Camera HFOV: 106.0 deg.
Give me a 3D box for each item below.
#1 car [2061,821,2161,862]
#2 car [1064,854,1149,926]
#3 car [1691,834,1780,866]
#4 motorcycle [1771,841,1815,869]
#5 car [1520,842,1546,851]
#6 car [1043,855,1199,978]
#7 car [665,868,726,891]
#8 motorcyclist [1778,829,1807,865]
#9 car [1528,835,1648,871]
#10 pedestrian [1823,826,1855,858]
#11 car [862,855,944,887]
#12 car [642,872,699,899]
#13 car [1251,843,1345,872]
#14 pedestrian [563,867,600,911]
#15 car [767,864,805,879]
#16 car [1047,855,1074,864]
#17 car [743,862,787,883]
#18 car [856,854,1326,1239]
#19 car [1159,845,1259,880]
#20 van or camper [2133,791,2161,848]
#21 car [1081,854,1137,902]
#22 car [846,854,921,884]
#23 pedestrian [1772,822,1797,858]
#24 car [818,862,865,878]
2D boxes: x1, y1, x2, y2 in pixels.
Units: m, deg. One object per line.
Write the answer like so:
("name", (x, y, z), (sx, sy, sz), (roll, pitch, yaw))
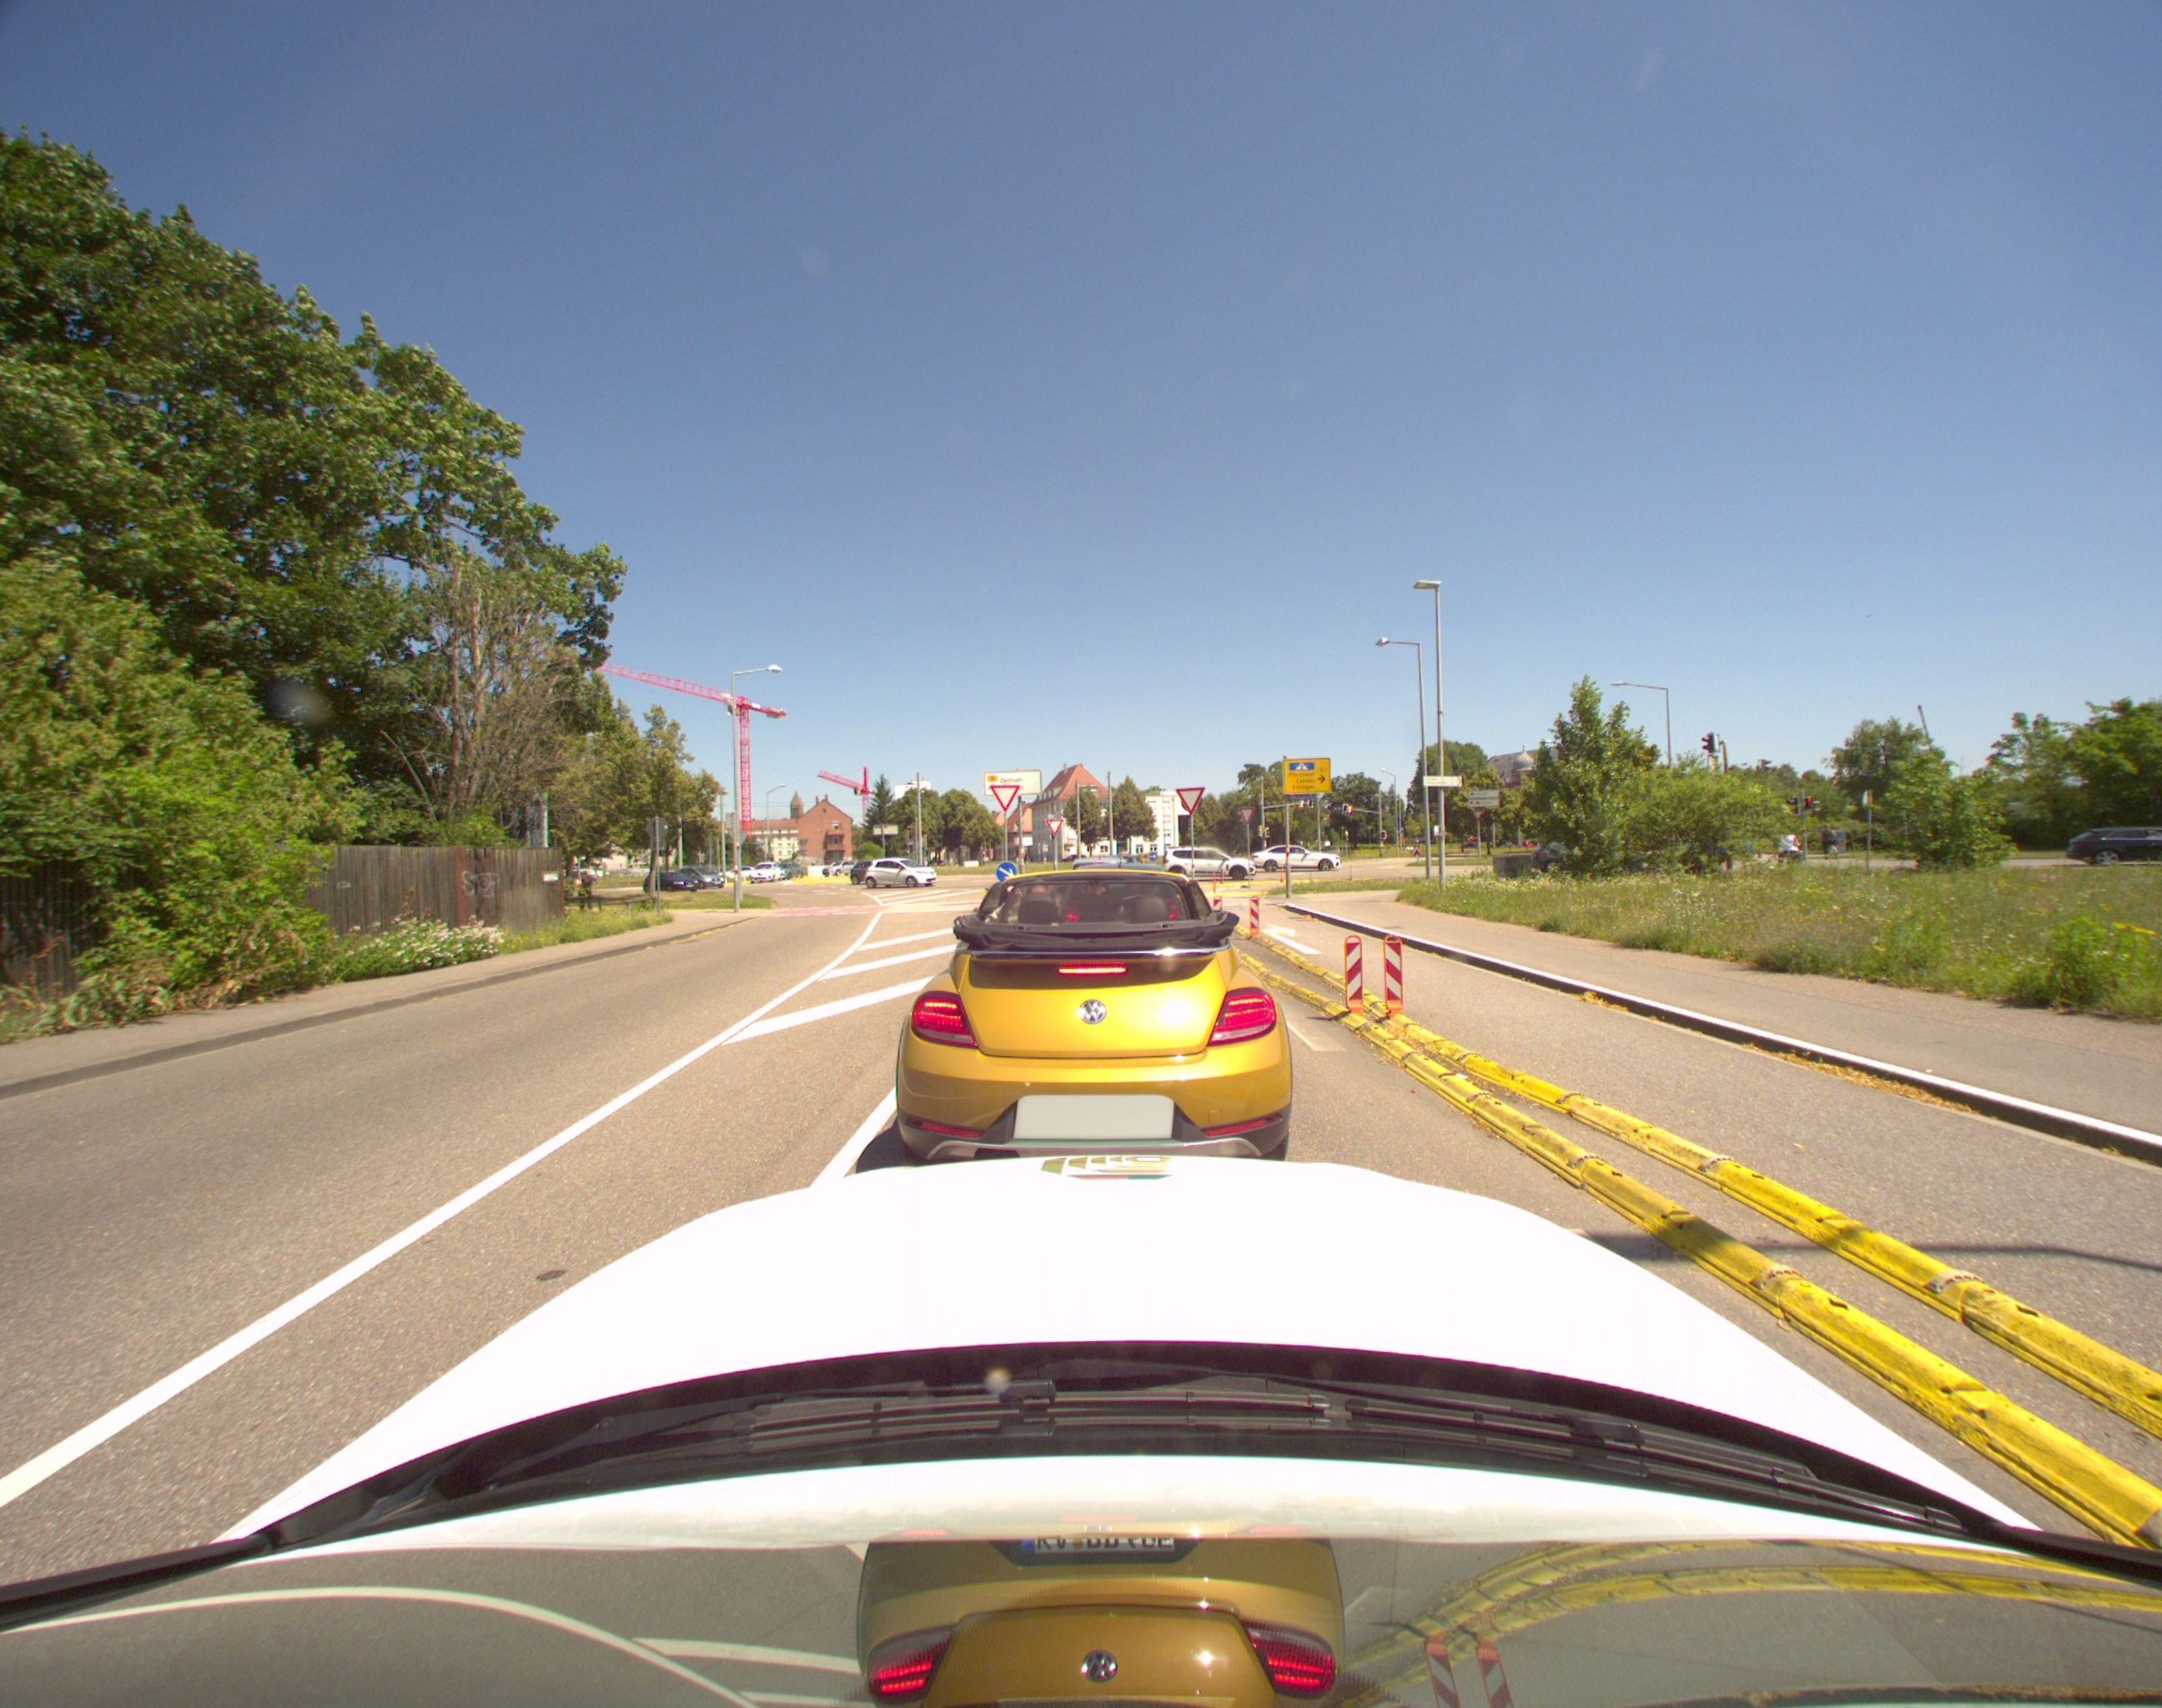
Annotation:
("car", (38.791, -0.455, 29.467), (3.949, 1.407, 2.012), (-1, 0, 41))
("car", (0.589, 0.751, 18.809), (1.730, 1.442, 4.002), (-1, 0, 2))
("car", (40.085, -0.219, 49.936), (2.011, 1.838, 3.951), (-1, 0, -43))
("motorcycle", (25.811, 0.039, 29.513), (1.712, 0.970, 0.625), (-1, 0, -28))
("car", (84.795, -1.421, 152.864), (3.996, 1.714, 1.989), (-1, 0, -17))
("car", (0.549, 0.758, 11.791), (1.841, 1.442, 4.002), (-1, 0, 2))
("car", (-26.932, 1.759, 56.890), (3.949, 1.496, 1.812), (-1, 0, 28))
("motorcyclist", (25.831, -0.249, 29.559), (0.616, 1.289, 0.576), (-1, -1, -27))
("car", (22.181, -0.029, 35.831), (4.168, 1.442, 2.011), (-1, 0, 21))
("pedestrian", (37.748, -0.604, 40.556), (0.789, 1.563, 0.823), (-1, 0, 3))
("car", (-9.507, 0.901, 43.448), (3.964, 1.620, 1.689), (-1, 0, 22))
("car", (-26.288, 1.972, 52.120), (3.960, 1.620, 1.748), (-1, 0, 39))
("car", (12.196, 0.184, 46.129), (4.961, 1.509, 2.005), (-1, 0, 9))
("pedestrian", (-18.549, 1.293, 30.247), (0.866, 1.563, 0.815), (-1, -1, 24))
("car", (-25.169, 1.479, 69.533), (1.700, 1.236, 3.788), (-1, 0, 2))
("car", (-3.051, 0.758, 119.190), (3.738, 1.236, 1.723), (-1, 0, 39))
("car", (-24.702, 1.422, 63.845), (1.749, 1.549, 4.002), (-1, 0, 2))
("car", (0.088, 0.732, 4.955), (1.746, 1.422, 3.778), (-1, 0, 1))
("car", (6.211, 0.396, 39.354), (4.540, 1.566, 2.008), (-1, 0, 16))
("van or camper", (54.857, -1.723, 37.590), (2.528, 2.693, 7.419), (-1, 0, -44))
("car", (0.947, 0.758, 27.608), (1.730, 1.477, 4.002), (-1, 0, 2))
("car", (-11.904, 0.910, 49.070), (3.957, 1.496, 1.654), (-5, -1, 15))
("pedestrian", (36.648, -0.734, 42.406), (0.647, 1.870, 0.737), (-1, 0, 3))
("car", (-23.178, 1.554, 79.016), (1.690, 1.500, 4.247), (-1, 0, 34))
